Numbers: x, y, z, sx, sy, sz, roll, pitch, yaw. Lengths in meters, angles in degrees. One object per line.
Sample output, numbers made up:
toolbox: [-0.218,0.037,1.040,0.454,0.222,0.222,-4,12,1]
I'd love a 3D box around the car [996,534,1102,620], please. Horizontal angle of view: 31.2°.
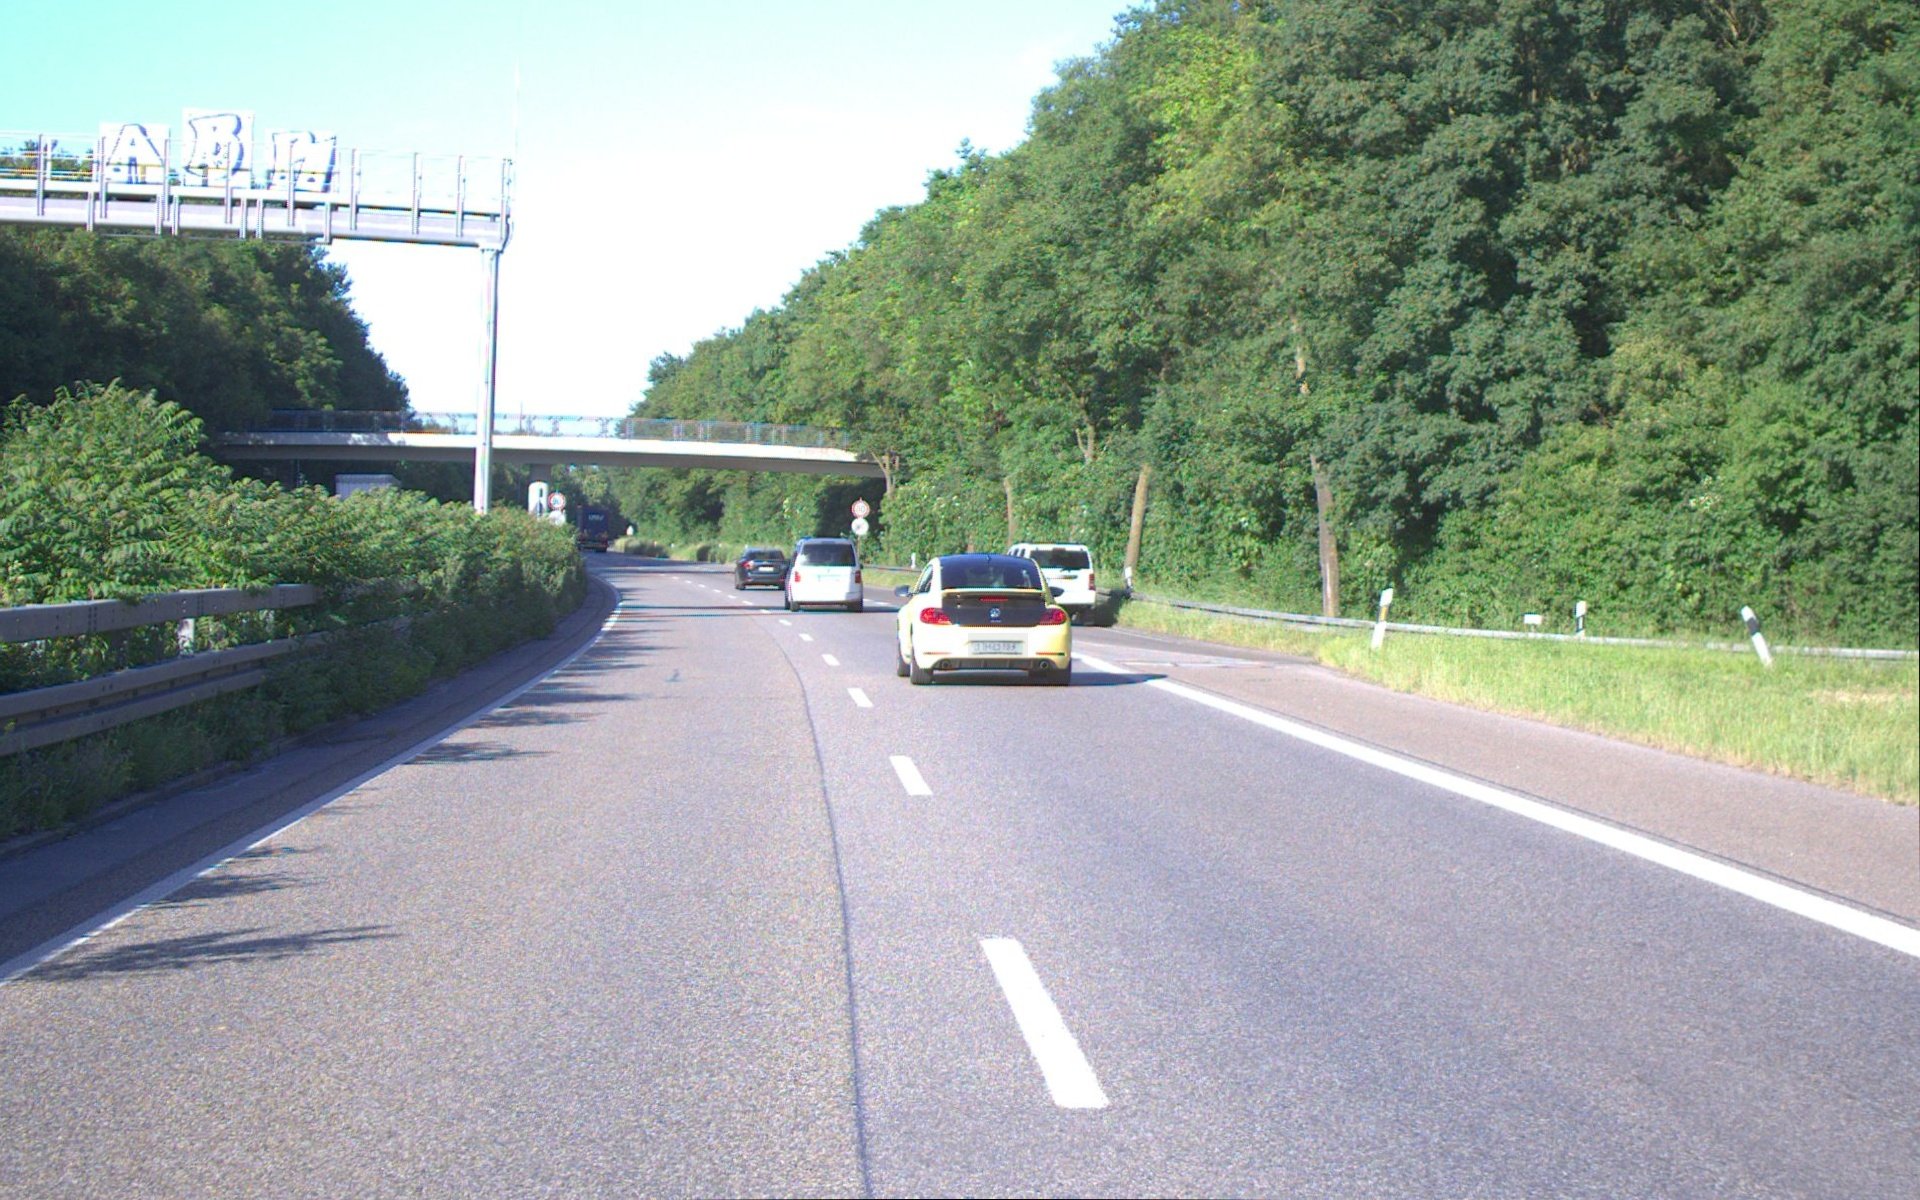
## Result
car: [1.936,-0.525,75.654,1.897,1.817,4.001,1,1,-5]

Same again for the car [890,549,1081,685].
car: [0.239,0.156,39.571,1.897,1.466,4.001,1,1,-4]

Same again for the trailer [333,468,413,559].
trailer: [-27.576,-3.994,161.955,2.737,4.013,14.078,2,1,-6]

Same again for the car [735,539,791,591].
car: [-6.949,-1.245,121.182,1.897,1.761,4.001,1,1,-3]

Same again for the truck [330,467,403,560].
truck: [-26.845,-3.894,155.748,2.737,4.013,6.181,2,1,-6]

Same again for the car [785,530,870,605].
car: [-3.262,-0.799,84.088,1.897,1.761,4.001,1,1,-5]
